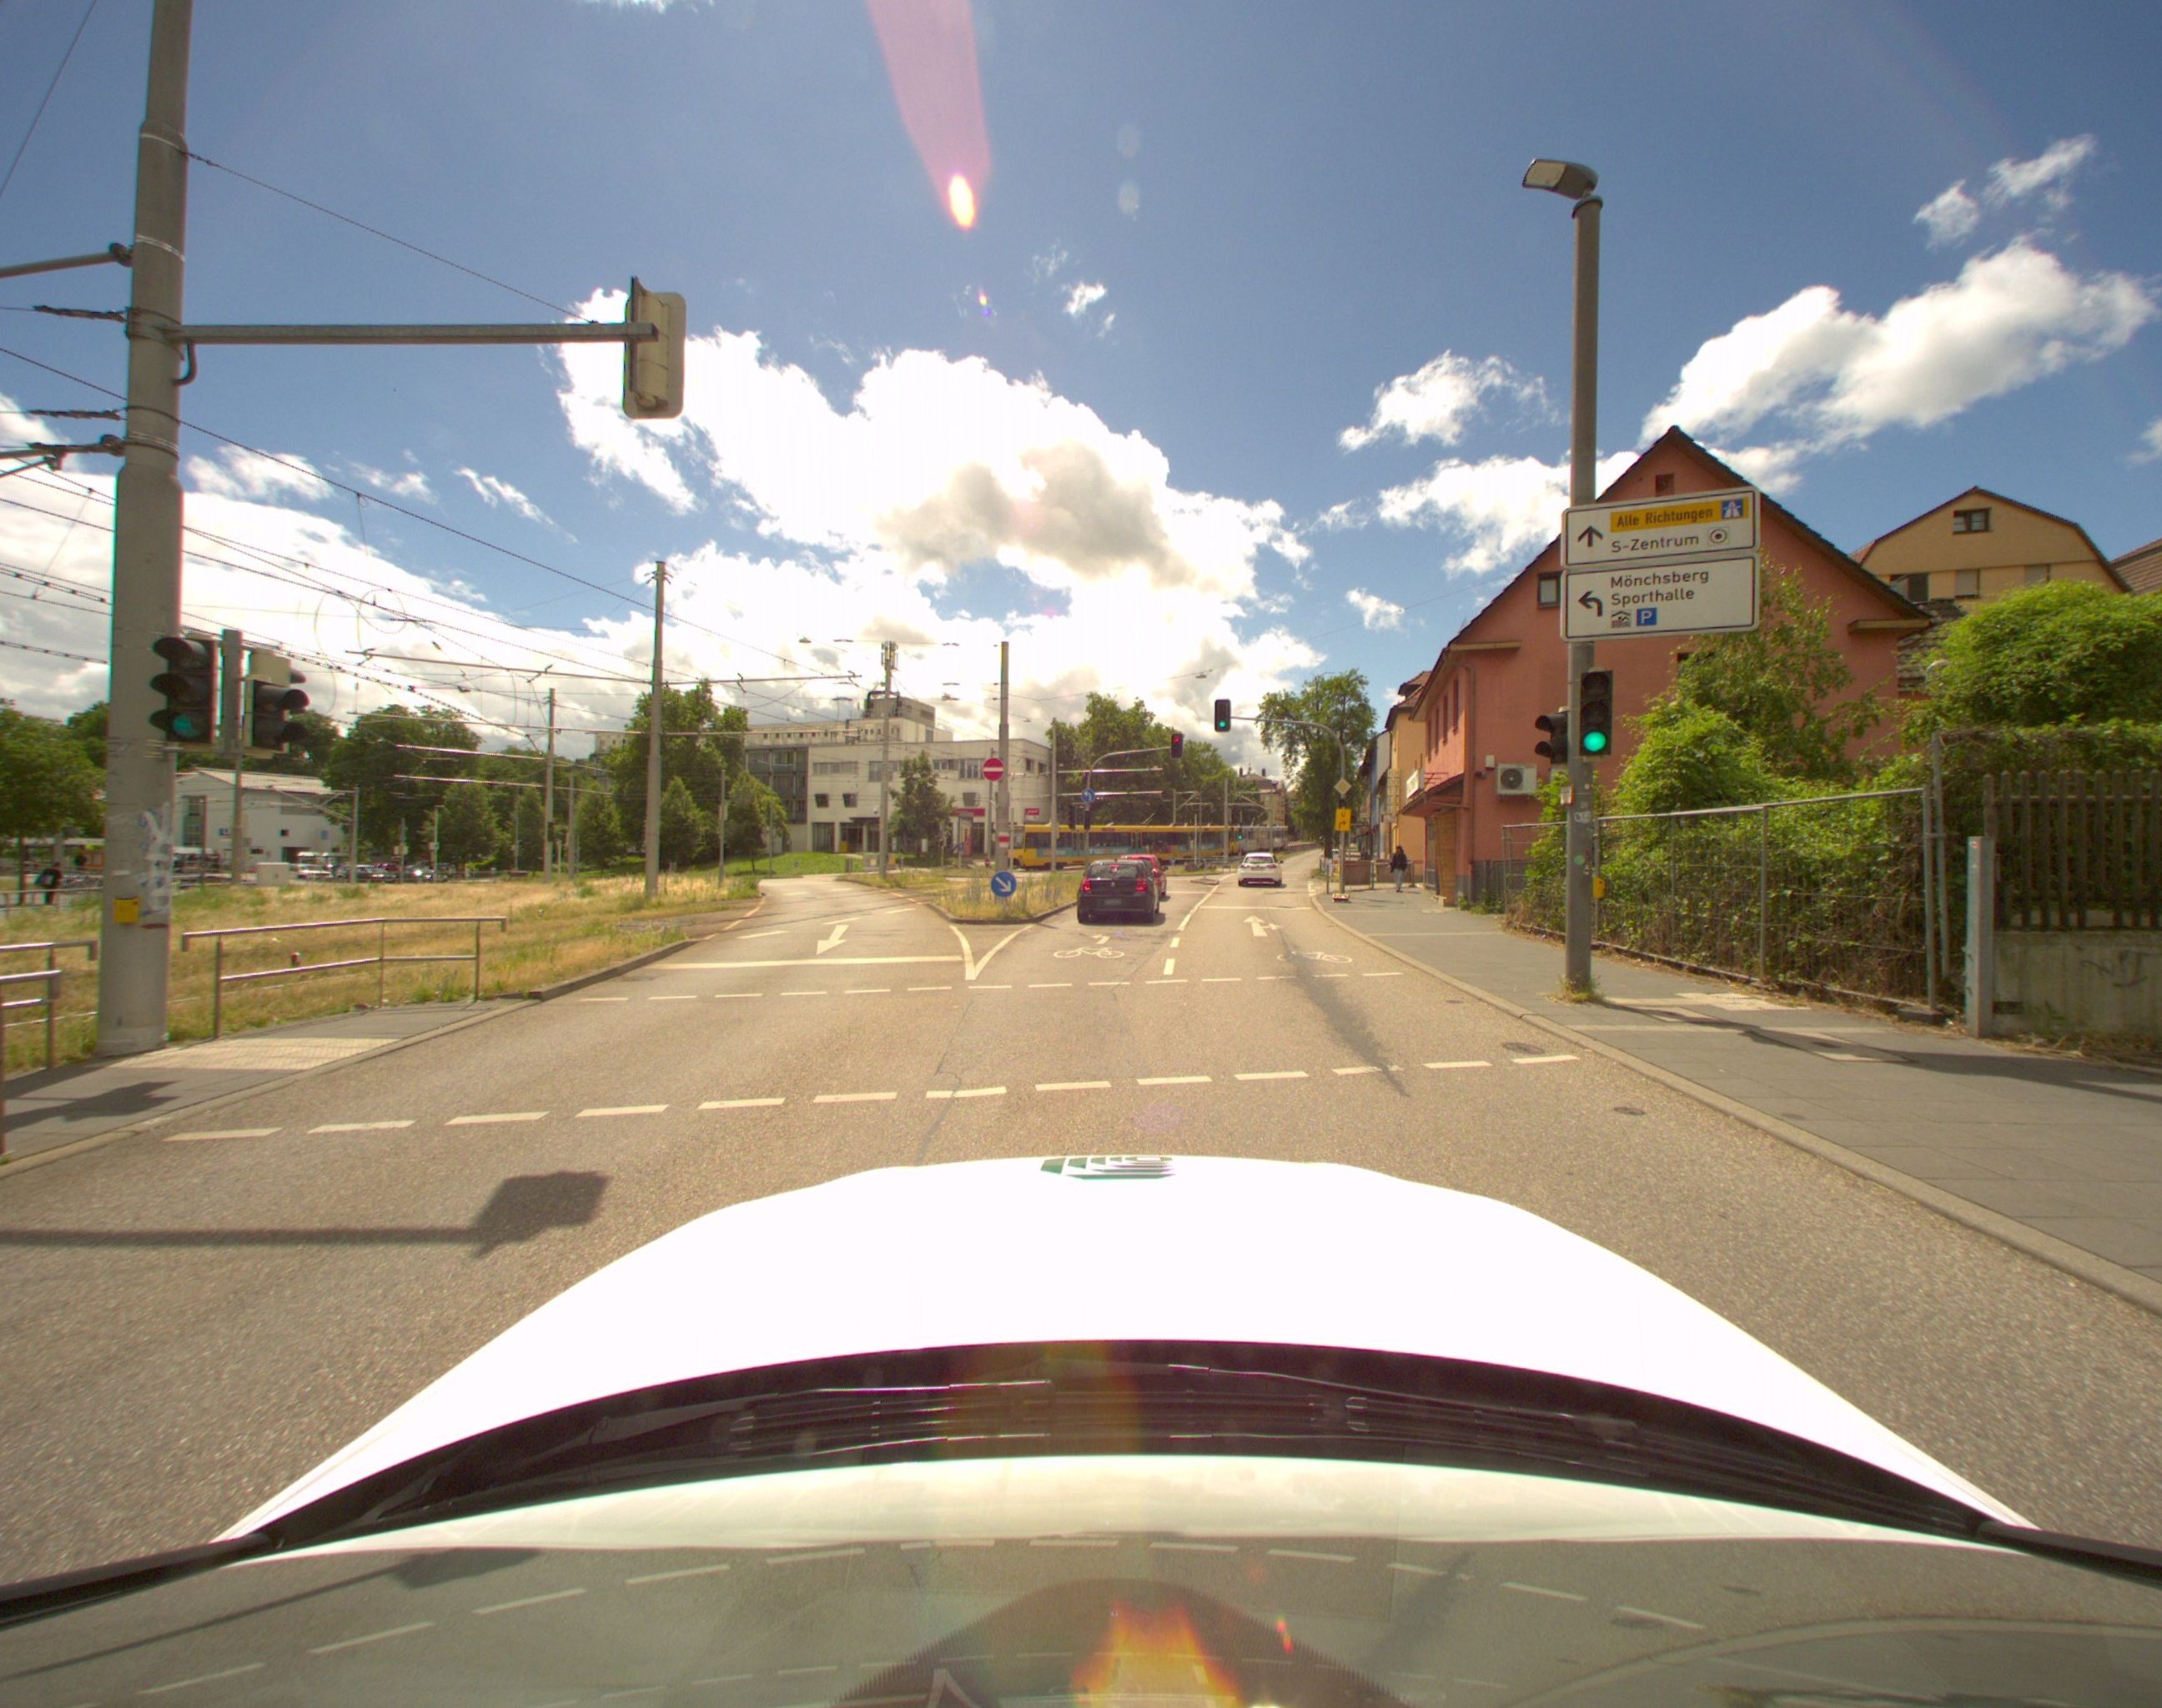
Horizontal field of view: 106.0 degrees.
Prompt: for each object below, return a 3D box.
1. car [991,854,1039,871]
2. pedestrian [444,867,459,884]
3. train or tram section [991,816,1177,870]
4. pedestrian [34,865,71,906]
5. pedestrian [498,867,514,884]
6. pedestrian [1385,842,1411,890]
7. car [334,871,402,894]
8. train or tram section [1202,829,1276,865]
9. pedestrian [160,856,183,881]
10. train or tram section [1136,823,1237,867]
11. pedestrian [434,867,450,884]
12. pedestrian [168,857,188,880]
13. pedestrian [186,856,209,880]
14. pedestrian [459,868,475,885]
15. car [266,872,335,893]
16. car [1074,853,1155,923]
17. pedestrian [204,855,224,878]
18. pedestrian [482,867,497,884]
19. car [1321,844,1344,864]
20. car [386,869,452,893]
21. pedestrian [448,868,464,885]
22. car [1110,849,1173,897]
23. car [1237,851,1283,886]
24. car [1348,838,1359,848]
[{"bbox_3d":[-5.900,0.729,72.719,4.023,1.417,1.866,0,-1,-45],"label":"car"},{"bbox_3d":[-61.262,2.104,79.273,0.808,1.576,0.844,-1,0,10],"label":"pedestrian"},{"bbox_3d":[0.882,-0.806,67.435,3.713,3.919,19.012,-2,-1,41],"label":"train or tram section"},{"bbox_3d":[-41.263,1.264,32.681,0.723,1.625,0.870,-2,-2,42],"label":"pedestrian"},{"bbox_3d":[-53.949,2.040,76.376,0.808,1.576,0.844,-1,0,10],"label":"pedestrian"},{"bbox_3d":[11.216,0.410,28.799,0.758,1.642,0.781,-1,1,16],"label":"pedestrian"},{"bbox_3d":[-55.144,2.209,63.016,4.209,1.651,1.927,-1,-1,16],"label":"car"},{"bbox_3d":[19.937,-0.732,100.538,3.715,3.879,20.755,-2,-1,26],"label":"train or tram section"},{"bbox_3d":[-66.704,1.052,59.727,0.789,1.753,0.842,-1,0,19],"label":"pedestrian"},{"bbox_3d":[11.254,-0.769,82.772,3.714,3.829,20.267,-2,-1,26],"label":"train or tram section"},{"bbox_3d":[-61.490,2.080,78.333,0.808,1.576,0.844,-1,0,10],"label":"pedestrian"},{"bbox_3d":[-67.054,1.106,60.488,0.666,1.685,0.760,-1,0,19],"label":"pedestrian"},{"bbox_3d":[-65.439,1.046,60.321,0.789,1.732,0.842,-1,0,19],"label":"pedestrian"},{"bbox_3d":[-59.203,2.155,78.521,0.808,1.576,0.844,-1,0,10],"label":"pedestrian"},{"bbox_3d":[-61.744,2.267,64.434,4.443,1.555,1.947,-1,-1,16],"label":"car"},{"bbox_3d":[0.815,0.760,19.388,1.694,1.452,4.003,-1,-1,3],"label":"car"},{"bbox_3d":[-63.967,0.931,60.070,0.611,1.691,0.842,-1,0,19],"label":"pedestrian"},{"bbox_3d":[-56.861,2.083,78.313,0.808,1.576,0.844,-1,0,10],"label":"pedestrian"},{"bbox_3d":[21.515,0.019,69.691,1.772,1.596,4.019,-1,-1,18],"label":"car"},{"bbox_3d":[-53.350,2.161,65.621,4.193,1.791,2.031,-1,-1,16],"label":"car"},{"bbox_3d":[-59.524,2.166,77.597,0.808,1.576,0.844,-1,0,10],"label":"pedestrian"},{"bbox_3d":[2.125,0.619,27.668,1.614,1.473,4.012,-1,-1,11],"label":"car"},{"bbox_3d":[8.146,0.606,36.917,1.802,1.468,4.016,-1,0,15],"label":"car"},{"bbox_3d":[53.554,-2.138,160.010,2.106,1.858,3.756,-1,0,19],"label":"car"}]
